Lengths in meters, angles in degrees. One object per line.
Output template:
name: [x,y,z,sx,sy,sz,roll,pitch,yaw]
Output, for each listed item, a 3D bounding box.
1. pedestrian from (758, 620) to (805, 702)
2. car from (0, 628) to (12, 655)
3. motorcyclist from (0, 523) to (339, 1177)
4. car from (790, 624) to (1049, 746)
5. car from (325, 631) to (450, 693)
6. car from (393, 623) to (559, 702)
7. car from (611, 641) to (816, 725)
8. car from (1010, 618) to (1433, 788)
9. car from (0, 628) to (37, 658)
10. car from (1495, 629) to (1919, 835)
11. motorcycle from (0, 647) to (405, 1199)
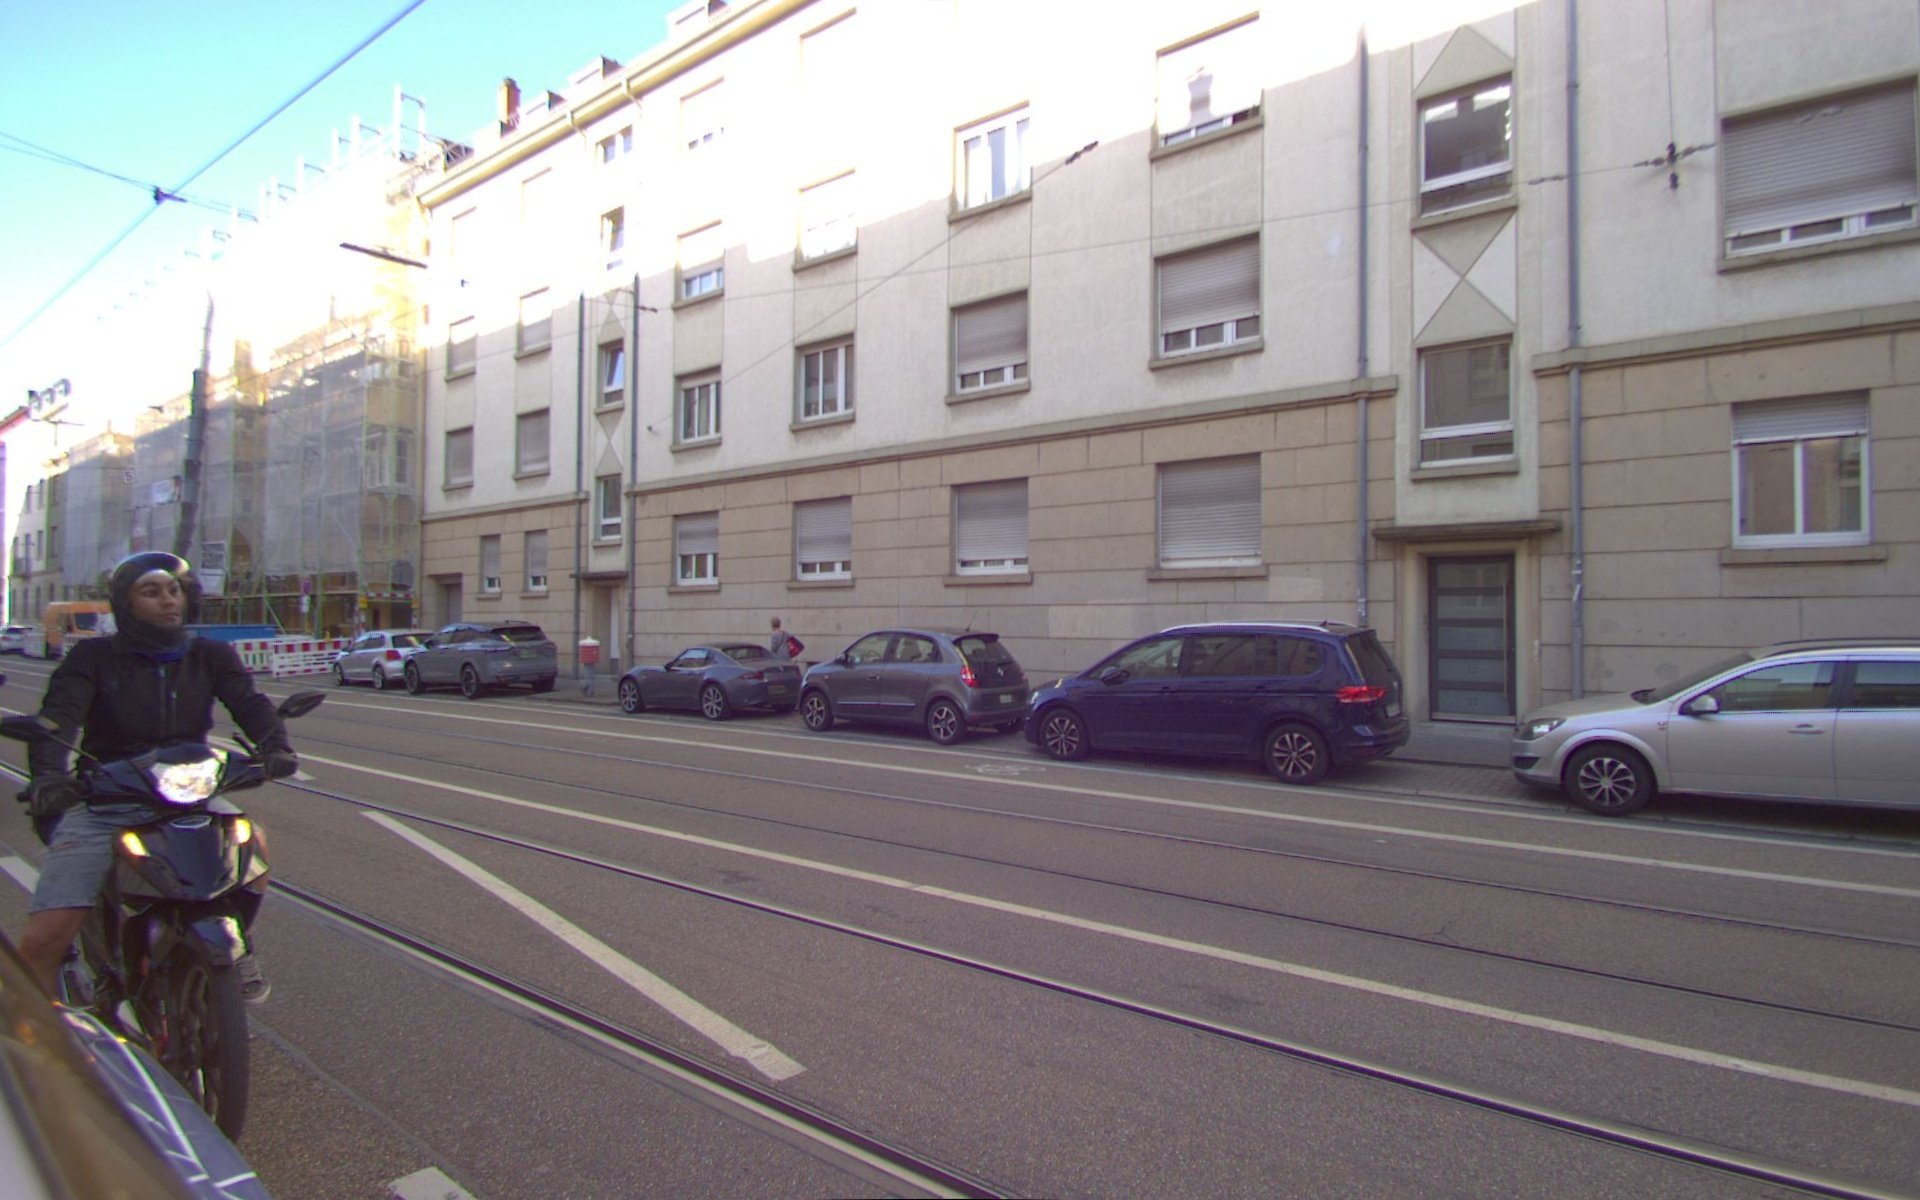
pedestrian: [-3.432,1.161,19.462,0.693,1.553,0.563,-2,-3,39]
car: [-54.593,2.321,56.830,3.964,1.498,1.662,-2,-1,42]
motorcyclist: [-2.555,0.655,3.171,0.899,1.668,0.781,-2,-3,41]
car: [-0.640,1.131,14.665,3.535,1.539,1.659,-1,-1,38]
car: [-14.396,1.496,25.408,3.506,1.423,1.524,-1,-1,38]
car: [-10.895,1.331,22.671,4.201,1.611,1.675,-1,-1,38]
car: [-4.326,1.364,17.511,3.681,1.244,1.502,-1,-1,38]
car: [2.880,1.031,11.687,4.383,1.611,1.779,-1,-1,38]
car: [-50.077,2.266,53.353,3.964,1.498,1.662,-2,-1,42]
car: [7.114,1.001,8.512,4.383,1.489,1.779,-1,-1,38]
motorcycle: [-2.652,0.816,3.248,2.272,1.302,0.781,-2,-3,41]
